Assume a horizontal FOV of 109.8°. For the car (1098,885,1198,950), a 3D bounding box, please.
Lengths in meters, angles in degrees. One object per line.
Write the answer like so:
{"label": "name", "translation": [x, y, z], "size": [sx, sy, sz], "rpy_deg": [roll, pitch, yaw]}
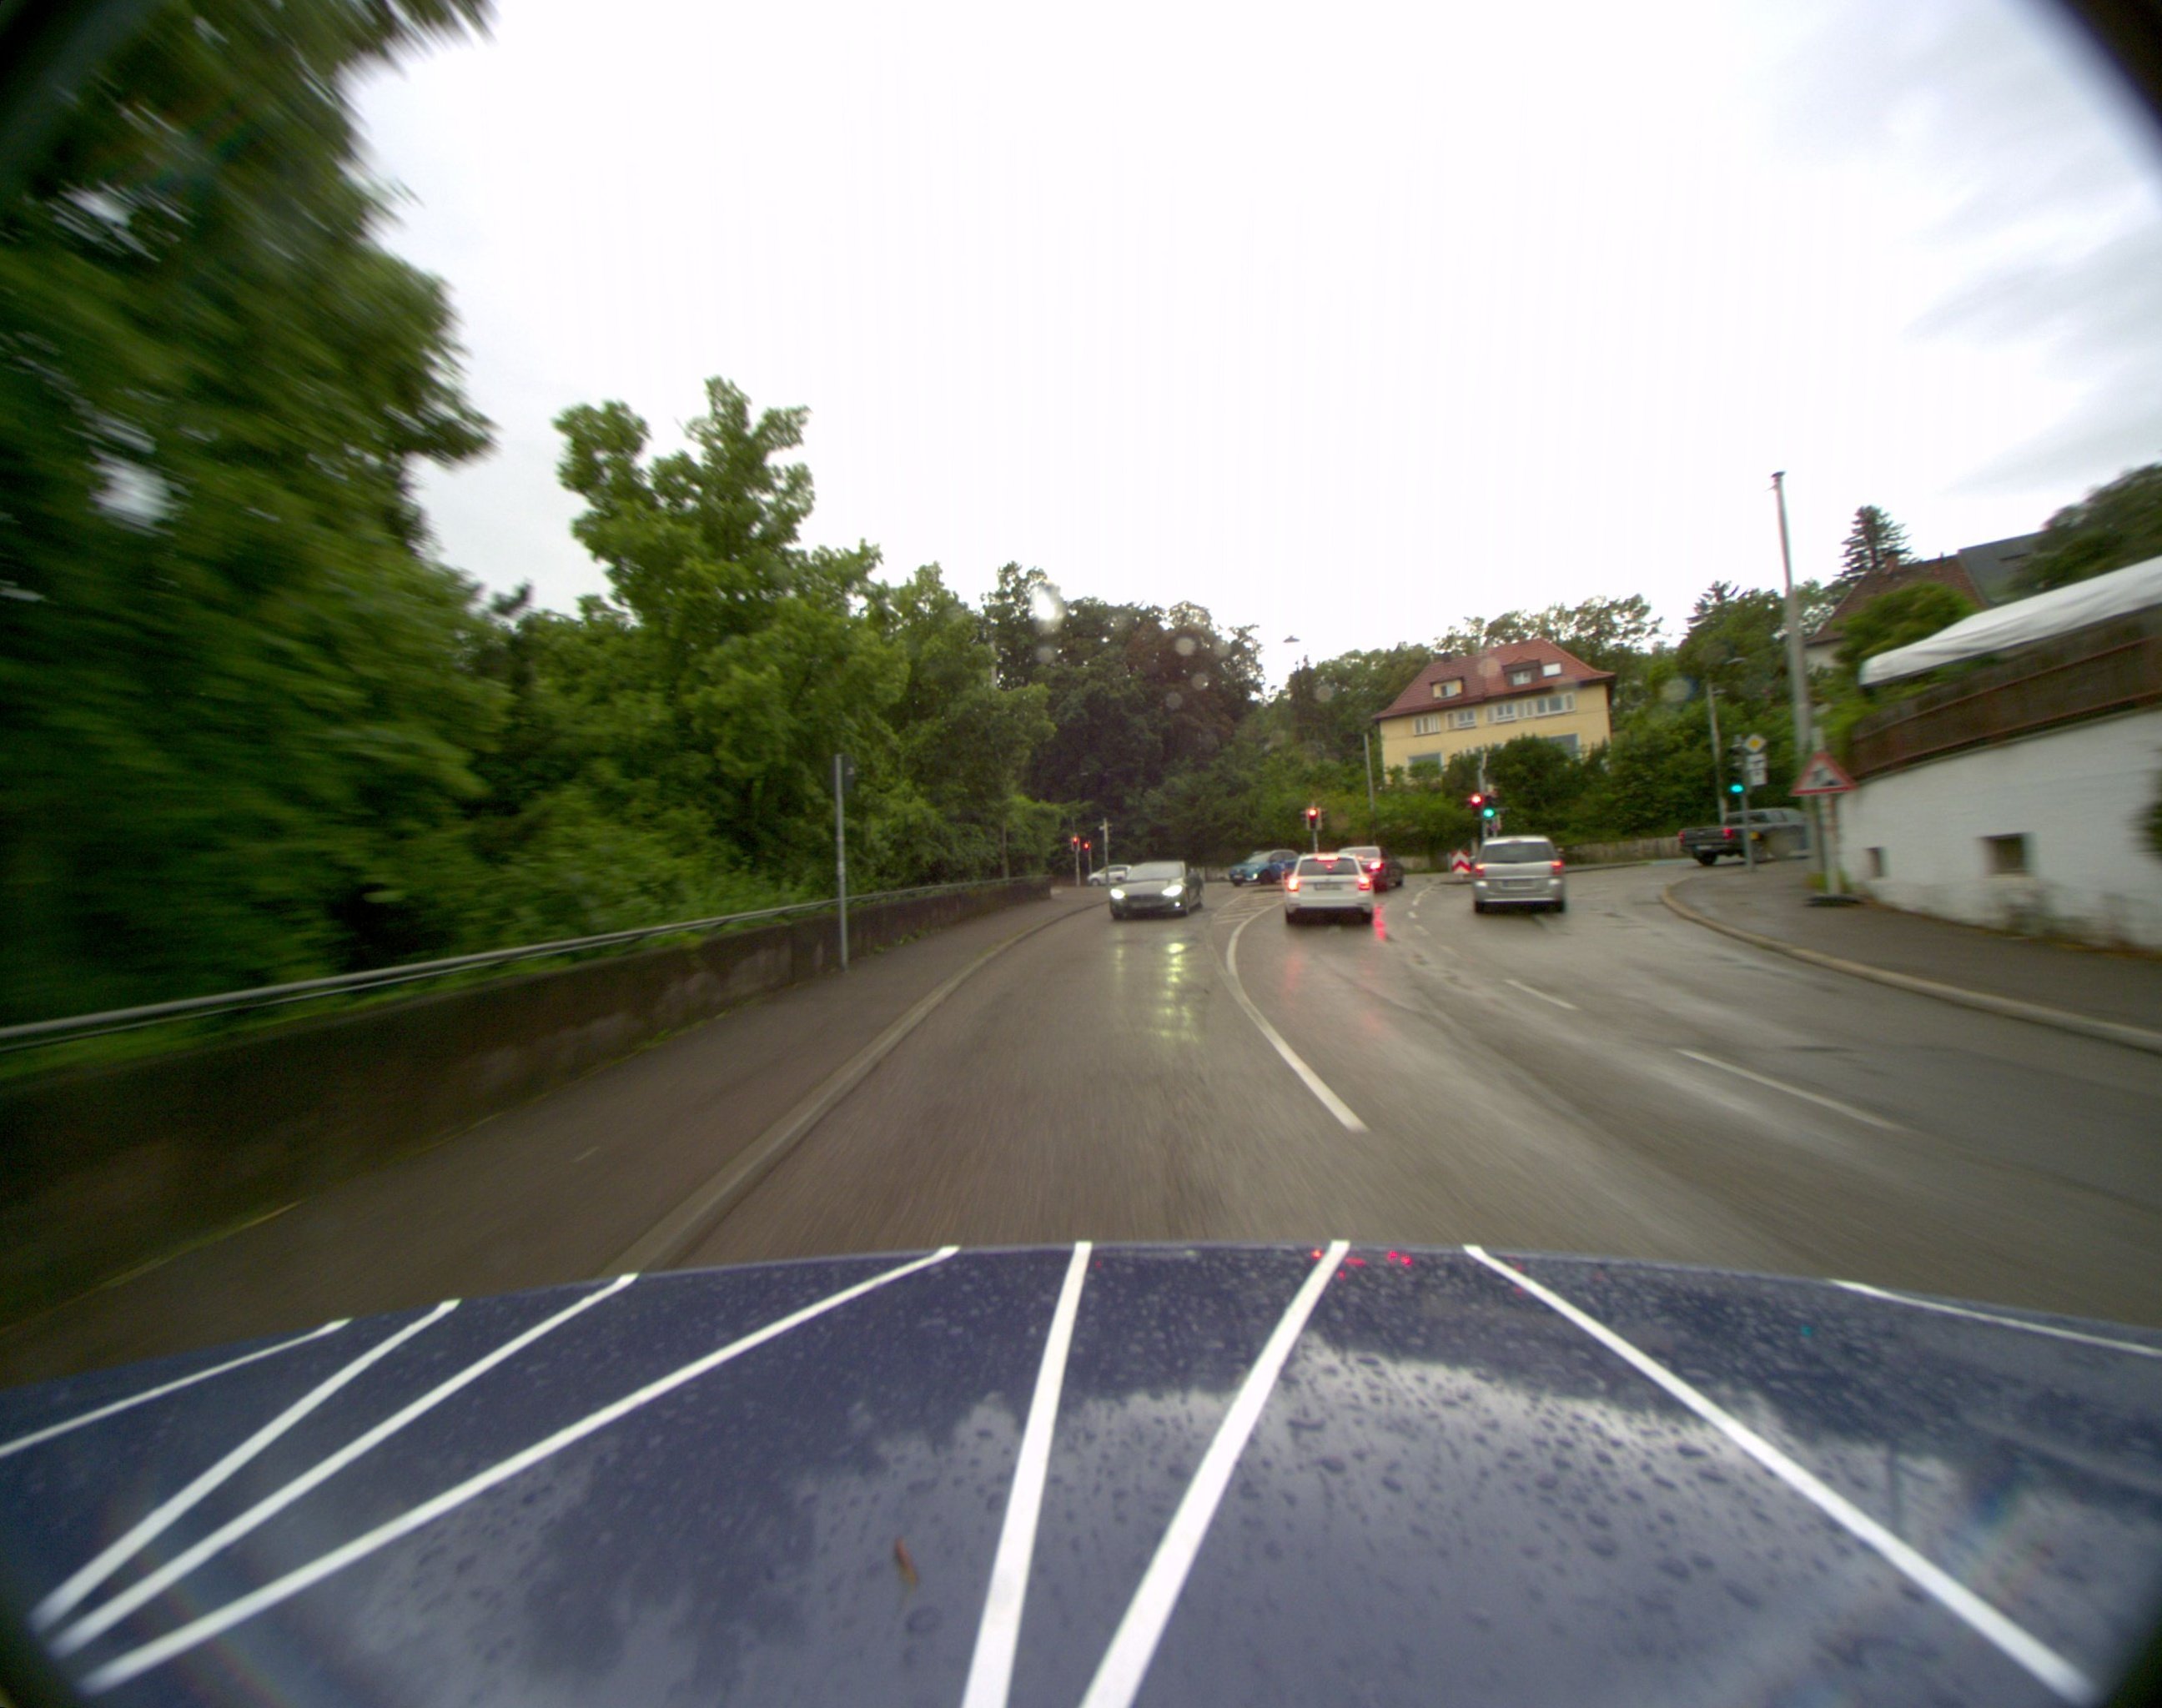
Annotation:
{"label": "car", "translation": [1.914, 1.632, 20.470], "size": [1.833, 1.383, 4.329], "rpy_deg": [-3, -1, 16]}

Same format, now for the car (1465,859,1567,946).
{"label": "car", "translation": [9.850, 1.009, 17.285], "size": [1.712, 1.576, 4.468], "rpy_deg": [-3, 0, 29]}

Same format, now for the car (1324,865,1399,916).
{"label": "car", "translation": [9.473, 1.164, 25.433], "size": [1.860, 1.387, 4.603], "rpy_deg": [-2, 1, 26]}

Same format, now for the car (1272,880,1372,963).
{"label": "car", "translation": [5.259, 1.370, 16.960], "size": [1.850, 1.465, 4.446], "rpy_deg": [0, 0, 15]}

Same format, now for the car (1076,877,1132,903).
{"label": "car", "translation": [1.561, 2.430, 50.911], "size": [3.359, 1.441, 1.556], "rpy_deg": [-6, -6, 15]}

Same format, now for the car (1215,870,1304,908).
{"label": "car", "translation": [8.473, 1.631, 35.872], "size": [4.049, 1.599, 1.798], "rpy_deg": [1, -6, -36]}

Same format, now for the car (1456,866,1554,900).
{"label": "car", "translation": [21.714, 1.520, 39.002], "size": [4.032, 1.450, 1.763], "rpy_deg": [-6, -4, 40]}

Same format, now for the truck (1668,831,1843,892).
{"label": "truck", "translation": [23.749, 0.225, 26.791], "size": [5.282, 1.838, 1.886], "rpy_deg": [-2, 1, -13]}
